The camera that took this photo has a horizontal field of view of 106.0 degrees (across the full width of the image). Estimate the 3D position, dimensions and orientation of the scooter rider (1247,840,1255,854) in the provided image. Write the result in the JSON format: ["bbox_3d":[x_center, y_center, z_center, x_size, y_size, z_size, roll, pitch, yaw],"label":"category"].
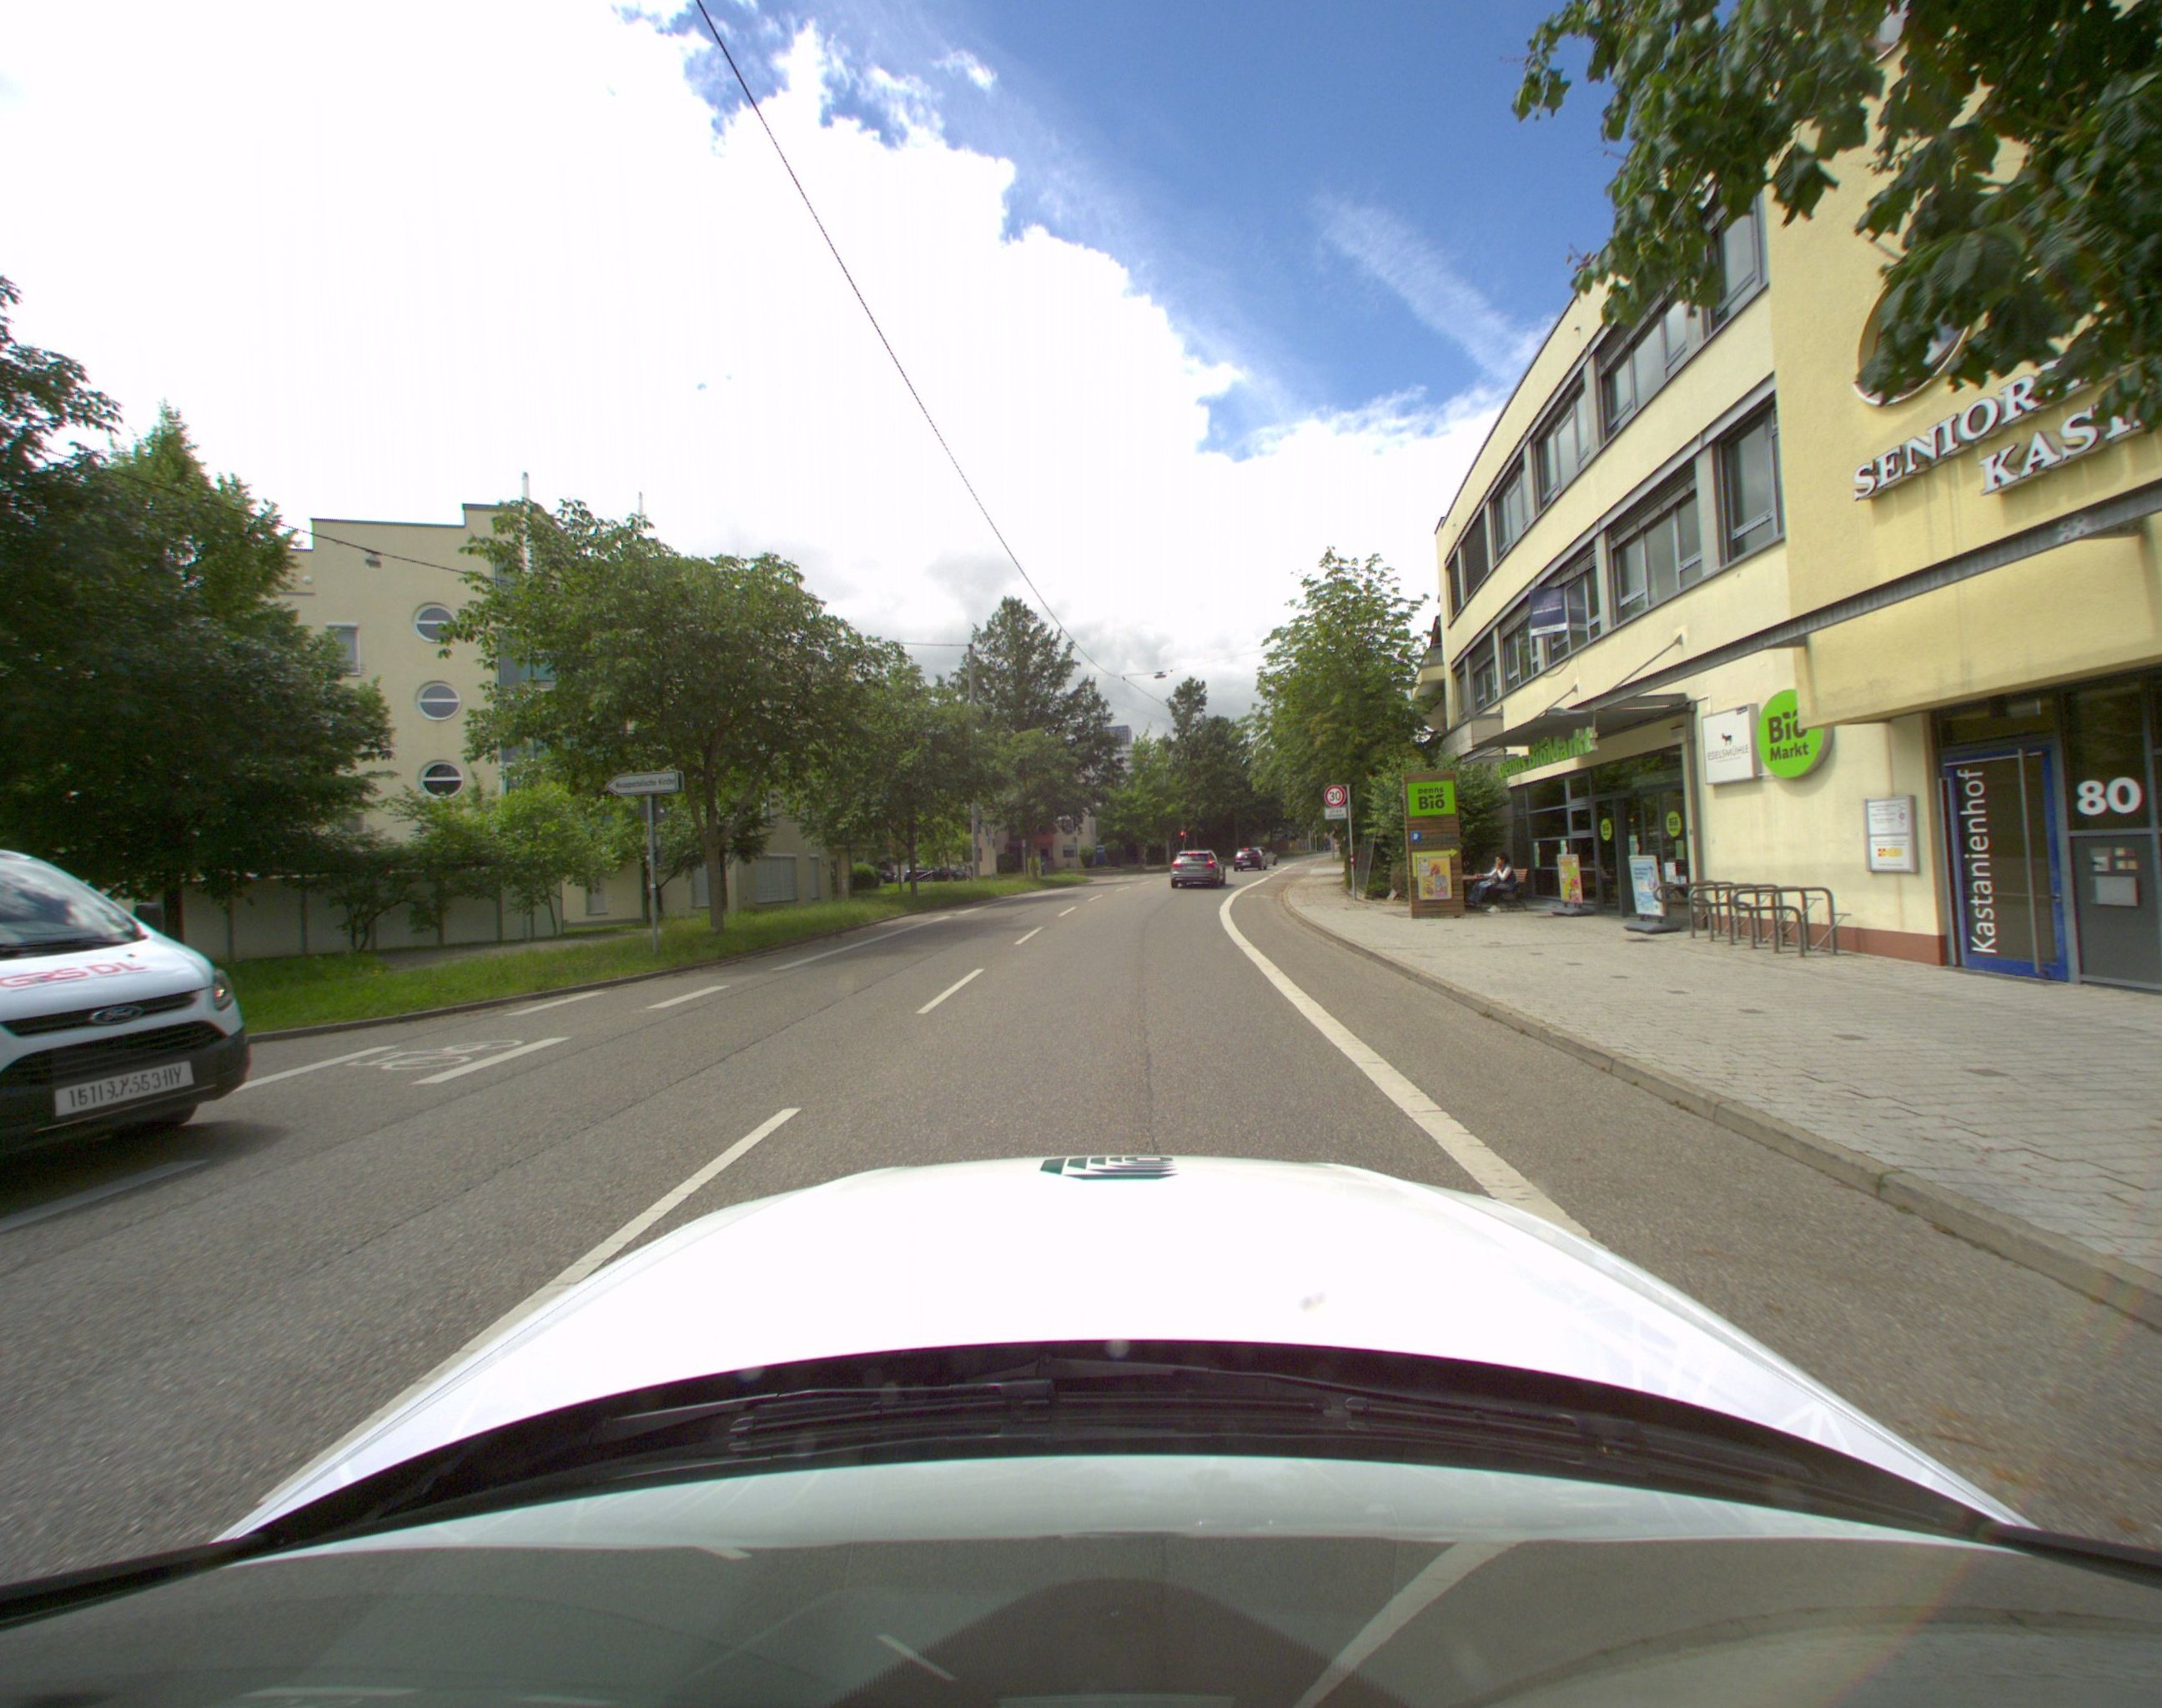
[{"bbox_3d":[20.596,-0.859,98.624,0.707,1.727,0.675,-1,-1,-20],"label":"scooter rider"}]

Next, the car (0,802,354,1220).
[{"bbox_3d":[-7.724,0.945,4.675,5.189,1.993,2.111,-5,0,3],"label":"car"}]

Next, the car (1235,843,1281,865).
[{"bbox_3d":[13.574,0.041,62.160,1.787,1.616,4.356,0,0,37],"label":"car"}]

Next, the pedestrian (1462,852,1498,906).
[{"bbox_3d":[8.938,0.559,18.252,0.520,1.181,0.501,-2,-1,-4],"label":"pedestrian"}]

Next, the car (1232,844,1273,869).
[{"bbox_3d":[11.031,0.124,52.129,1.788,1.523,4.353,0,1,23],"label":"car"}]

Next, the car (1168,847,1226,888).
[{"bbox_3d":[4.762,0.492,32.888,1.942,1.523,4.345,0,1,13],"label":"car"}]

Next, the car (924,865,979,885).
[{"bbox_3d":[-10.387,1.673,65.558,4.058,1.400,1.797,-2,-4,5],"label":"car"}]

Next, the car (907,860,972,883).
[{"bbox_3d":[-9.821,1.253,56.592,4.058,1.400,1.797,-2,-4,5],"label":"car"}]

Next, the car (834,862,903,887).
[{"bbox_3d":[-14.911,1.416,57.213,4.155,1.523,1.904,-3,-1,5],"label":"car"}]

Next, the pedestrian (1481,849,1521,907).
[{"bbox_3d":[8.977,0.514,17.431,0.574,1.204,0.504,-2,-1,6],"label":"pedestrian"}]

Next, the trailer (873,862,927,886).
[{"bbox_3d":[-14.653,1.622,65.966,3.890,1.799,1.631,-2,-4,3],"label":"trailer"}]
